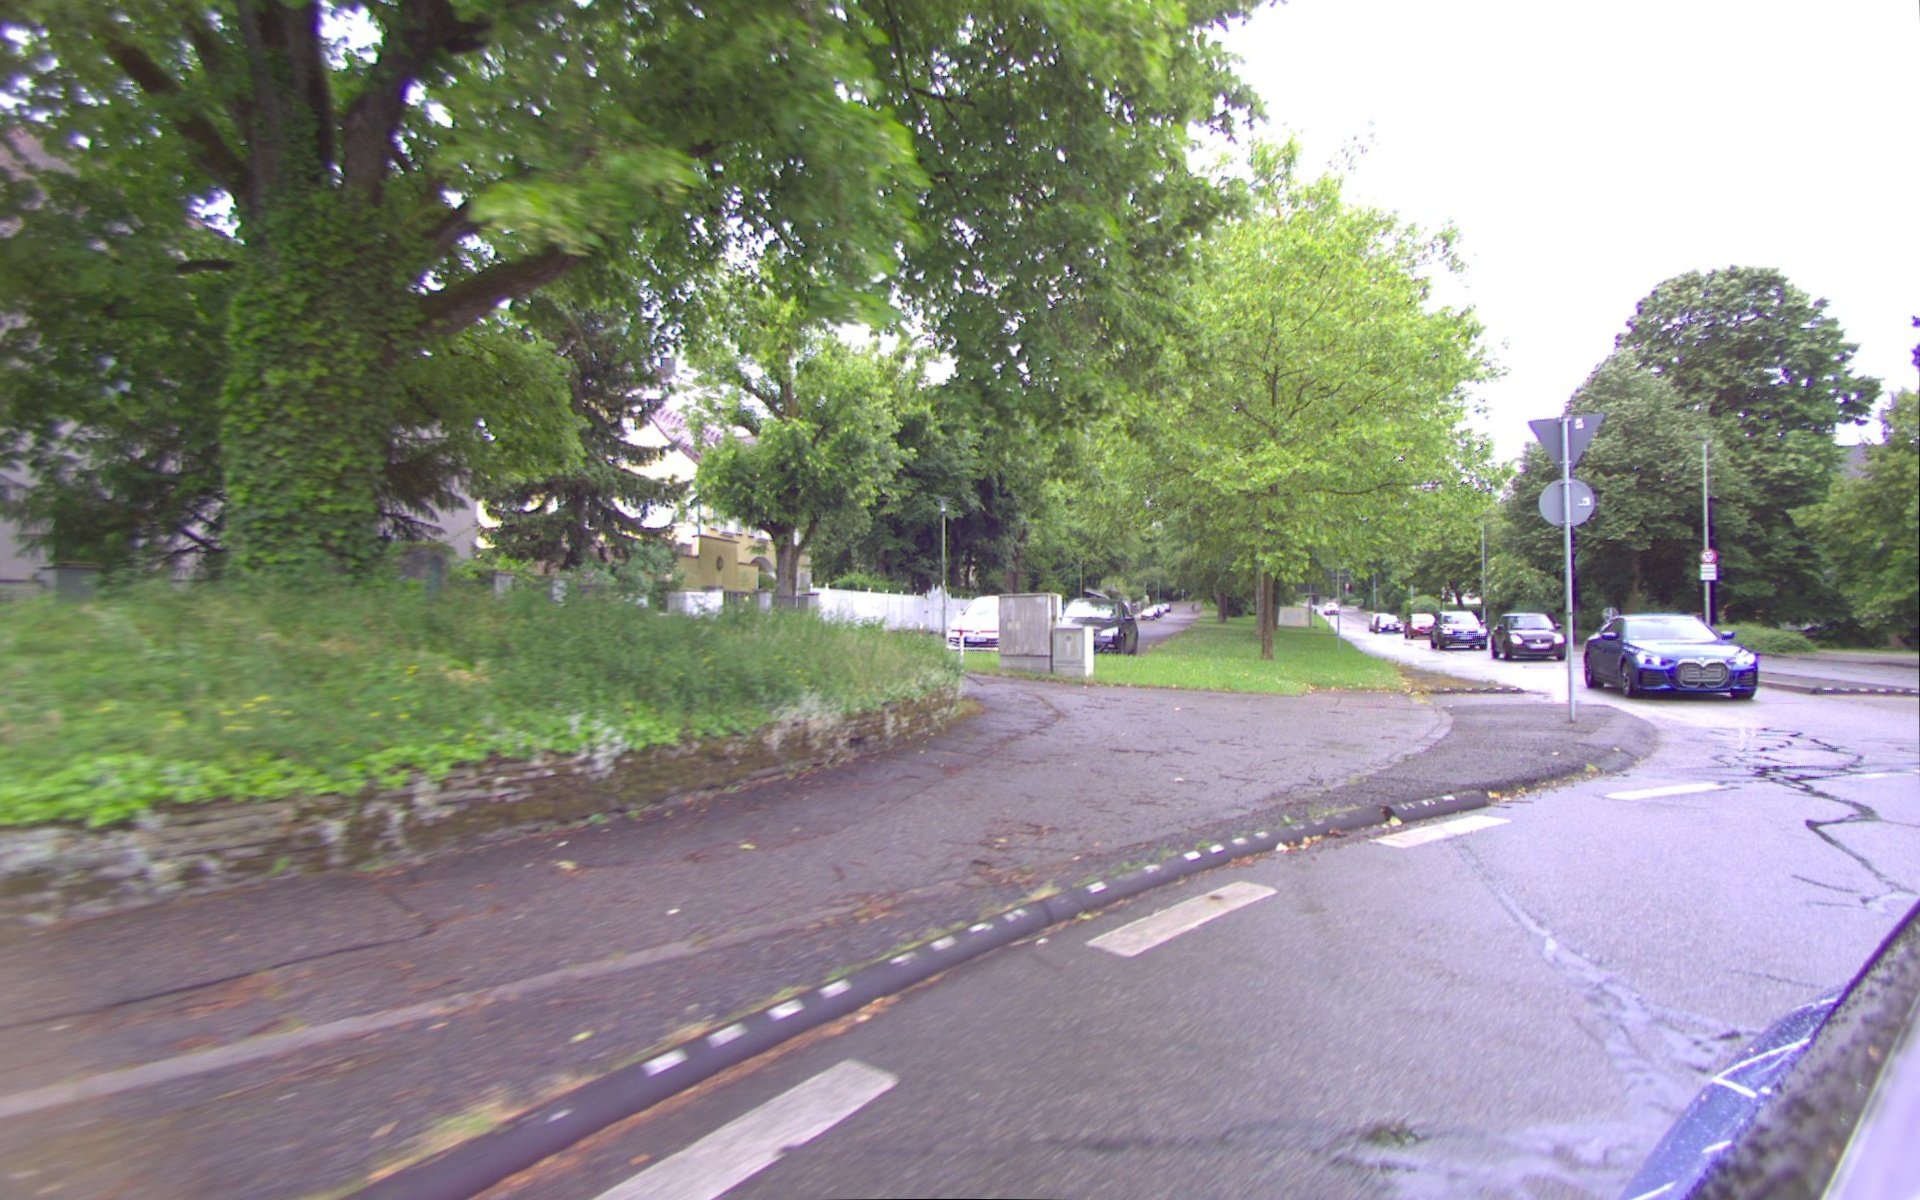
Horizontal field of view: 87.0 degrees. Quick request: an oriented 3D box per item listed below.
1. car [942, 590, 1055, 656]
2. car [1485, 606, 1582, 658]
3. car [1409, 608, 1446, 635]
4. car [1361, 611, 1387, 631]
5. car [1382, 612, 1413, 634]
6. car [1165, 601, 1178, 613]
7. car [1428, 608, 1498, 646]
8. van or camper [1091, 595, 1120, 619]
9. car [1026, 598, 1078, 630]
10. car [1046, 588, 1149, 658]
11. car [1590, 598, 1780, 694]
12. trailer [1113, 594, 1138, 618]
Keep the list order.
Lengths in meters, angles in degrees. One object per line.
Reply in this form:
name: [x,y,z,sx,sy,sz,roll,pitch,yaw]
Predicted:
car: [1.058,0.510,25.141,1.825,1.489,4.403,0,0,16]
car: [18.392,0.982,32.658,1.802,1.498,4.045,-2,-1,17]
car: [28.097,1.262,60.908,1.805,1.498,4.037,-2,-1,22]
car: [34.351,1.717,83.860,1.808,1.498,4.033,-2,-1,25]
car: [33.174,1.705,76.689,1.809,1.498,4.029,-2,-1,27]
car: [37.547,1.172,179.327,1.972,2.039,3.980,0,0,15]
car: [21.599,1.129,43.588,2.005,1.498,4.045,-2,0,17]
van or camper: [12.009,0.564,83.257,1.969,1.831,4.757,-2,-1,13]
car: [4.655,0.689,50.739,1.970,1.490,4.106,-2,-1,14]
car: [3.436,0.495,24.594,1.746,1.489,4.573,1,0,17]
car: [12.956,0.766,18.373,1.805,1.498,4.038,-2,-1,22]
trailer: [15.131,0.530,92.340,1.747,2.143,5.168,-2,-1,15]
